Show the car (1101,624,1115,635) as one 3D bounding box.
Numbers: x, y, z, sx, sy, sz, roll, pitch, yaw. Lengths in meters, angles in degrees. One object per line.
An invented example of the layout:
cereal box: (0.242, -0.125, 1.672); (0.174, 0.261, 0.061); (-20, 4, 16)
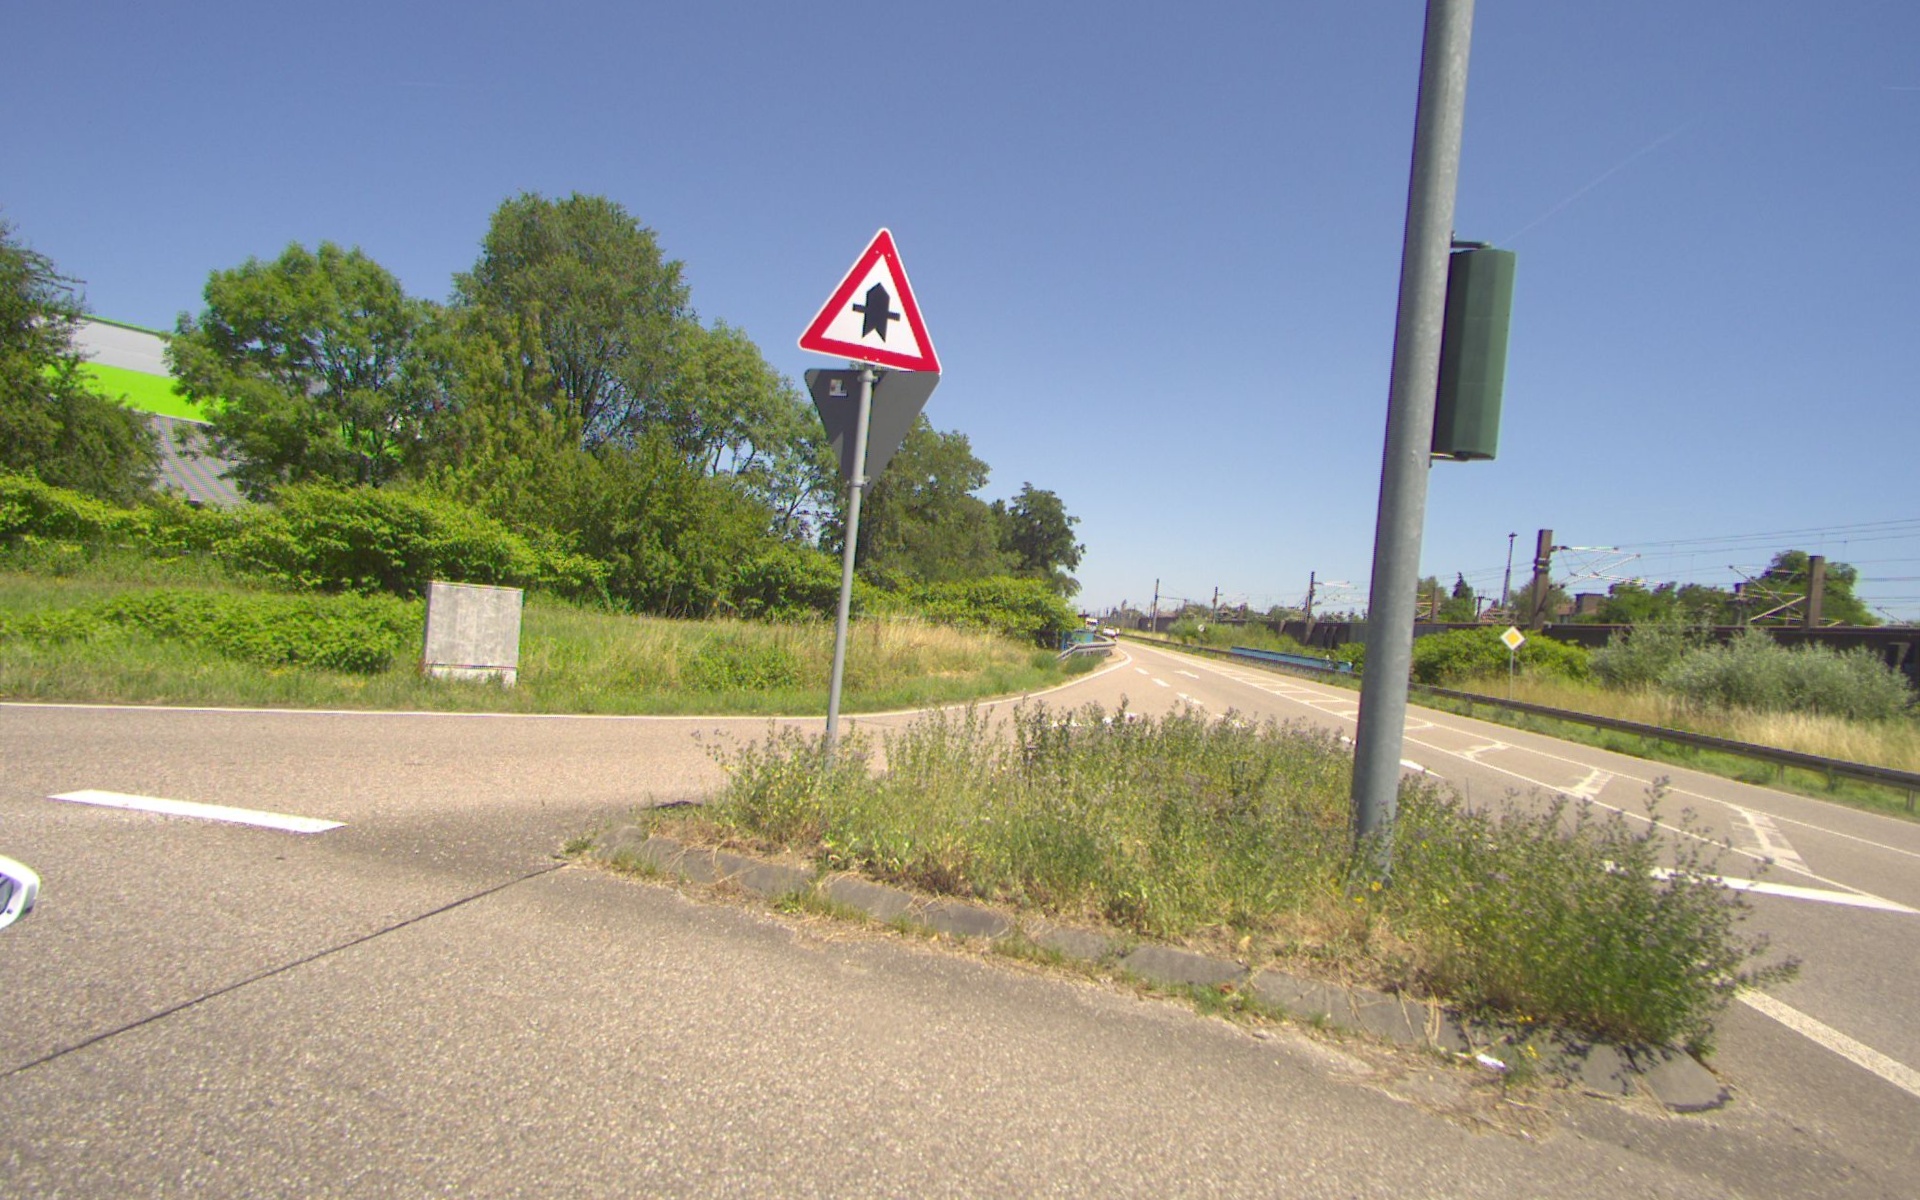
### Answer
car: (20.369, 4.014, 138.489); (1.629, 1.237, 3.700); (6, 0, 5)

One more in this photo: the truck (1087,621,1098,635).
truck: (22.378, 4.653, 170.276); (1.412, 2.154, 4.253); (6, 0, 5)
